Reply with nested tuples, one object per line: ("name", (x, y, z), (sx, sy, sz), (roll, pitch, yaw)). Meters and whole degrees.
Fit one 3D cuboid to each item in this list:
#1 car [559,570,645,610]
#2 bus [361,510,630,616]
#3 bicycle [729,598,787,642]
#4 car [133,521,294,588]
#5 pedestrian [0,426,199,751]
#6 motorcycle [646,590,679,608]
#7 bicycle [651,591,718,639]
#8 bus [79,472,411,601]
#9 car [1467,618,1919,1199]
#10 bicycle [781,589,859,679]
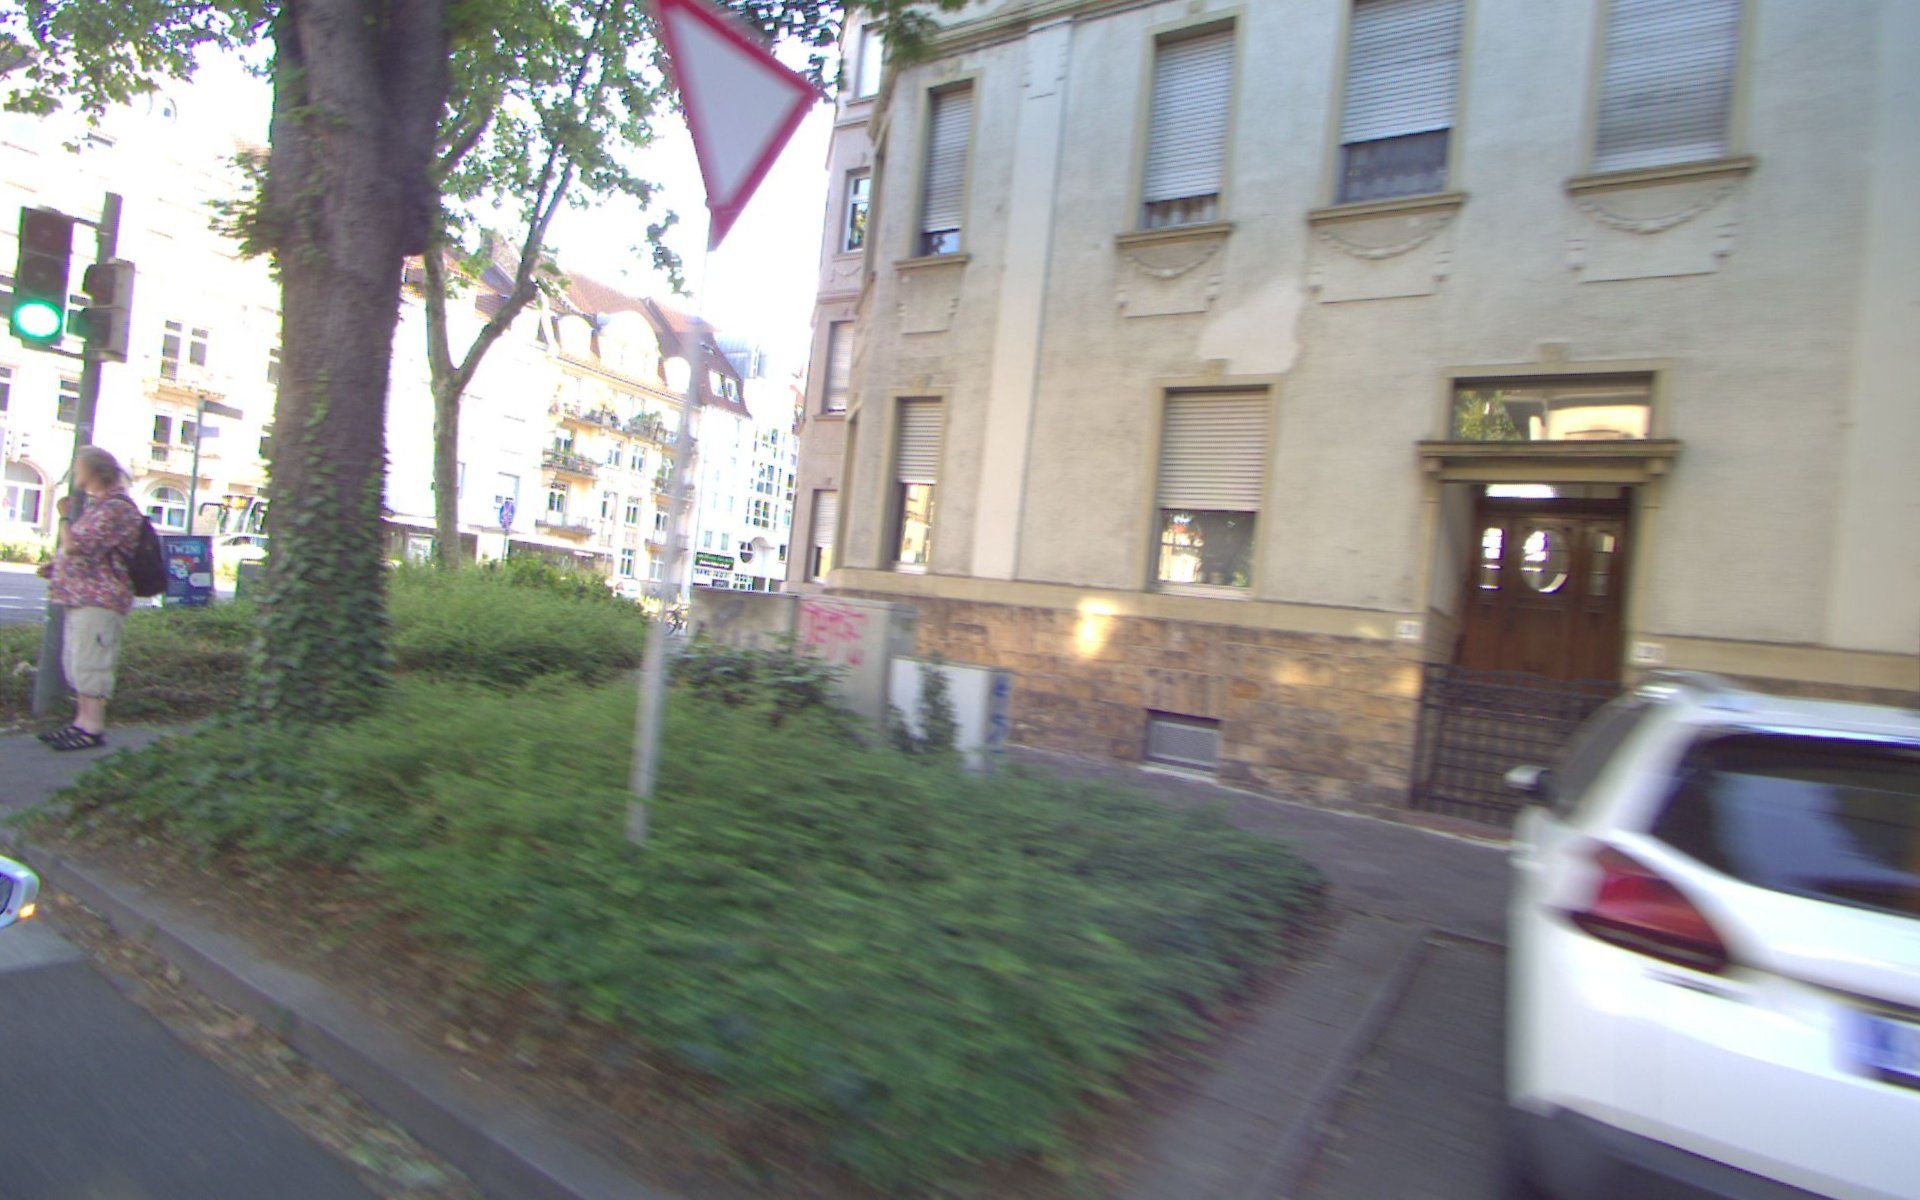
("car", (-21.486, -0.563, 60.583), (1.879, 1.807, 4.648), (6, -2, 31))
("bus", (-21.918, -1.550, 48.730), (3.210, 3.412, 11.965), (6, -2, 30))
("bicycle", (-5.696, 0.595, 28.489), (0.430, 1.111, 1.931), (6, -1, 25))
("car", (-26.151, -1.573, 35.362), (1.905, 1.703, 3.994), (6, -2, 32))
("pedestrian", (-5.249, -0.054, 6.094), (0.656, 1.827, 0.700), (6, -1, 37))
("motorcycle", (-20.624, -0.060, 69.719), (0.520, 1.033, 2.417), (9, 0, 28))
("bicycle", (-7.009, 0.389, 25.716), (0.364, 1.081, 1.872), (6, -1, 29))
("bus", (-27.305, -2.249, 39.235), (3.221, 3.412, 9.889), (6, -2, 30))
("car", (2.827, 1.047, 3.457), (1.656, 1.595, 4.042), (7, 0, 30))
("bicycle", (-2.749, 0.625, 19.422), (0.938, 1.489, 3.150), (7, -2, -15))
